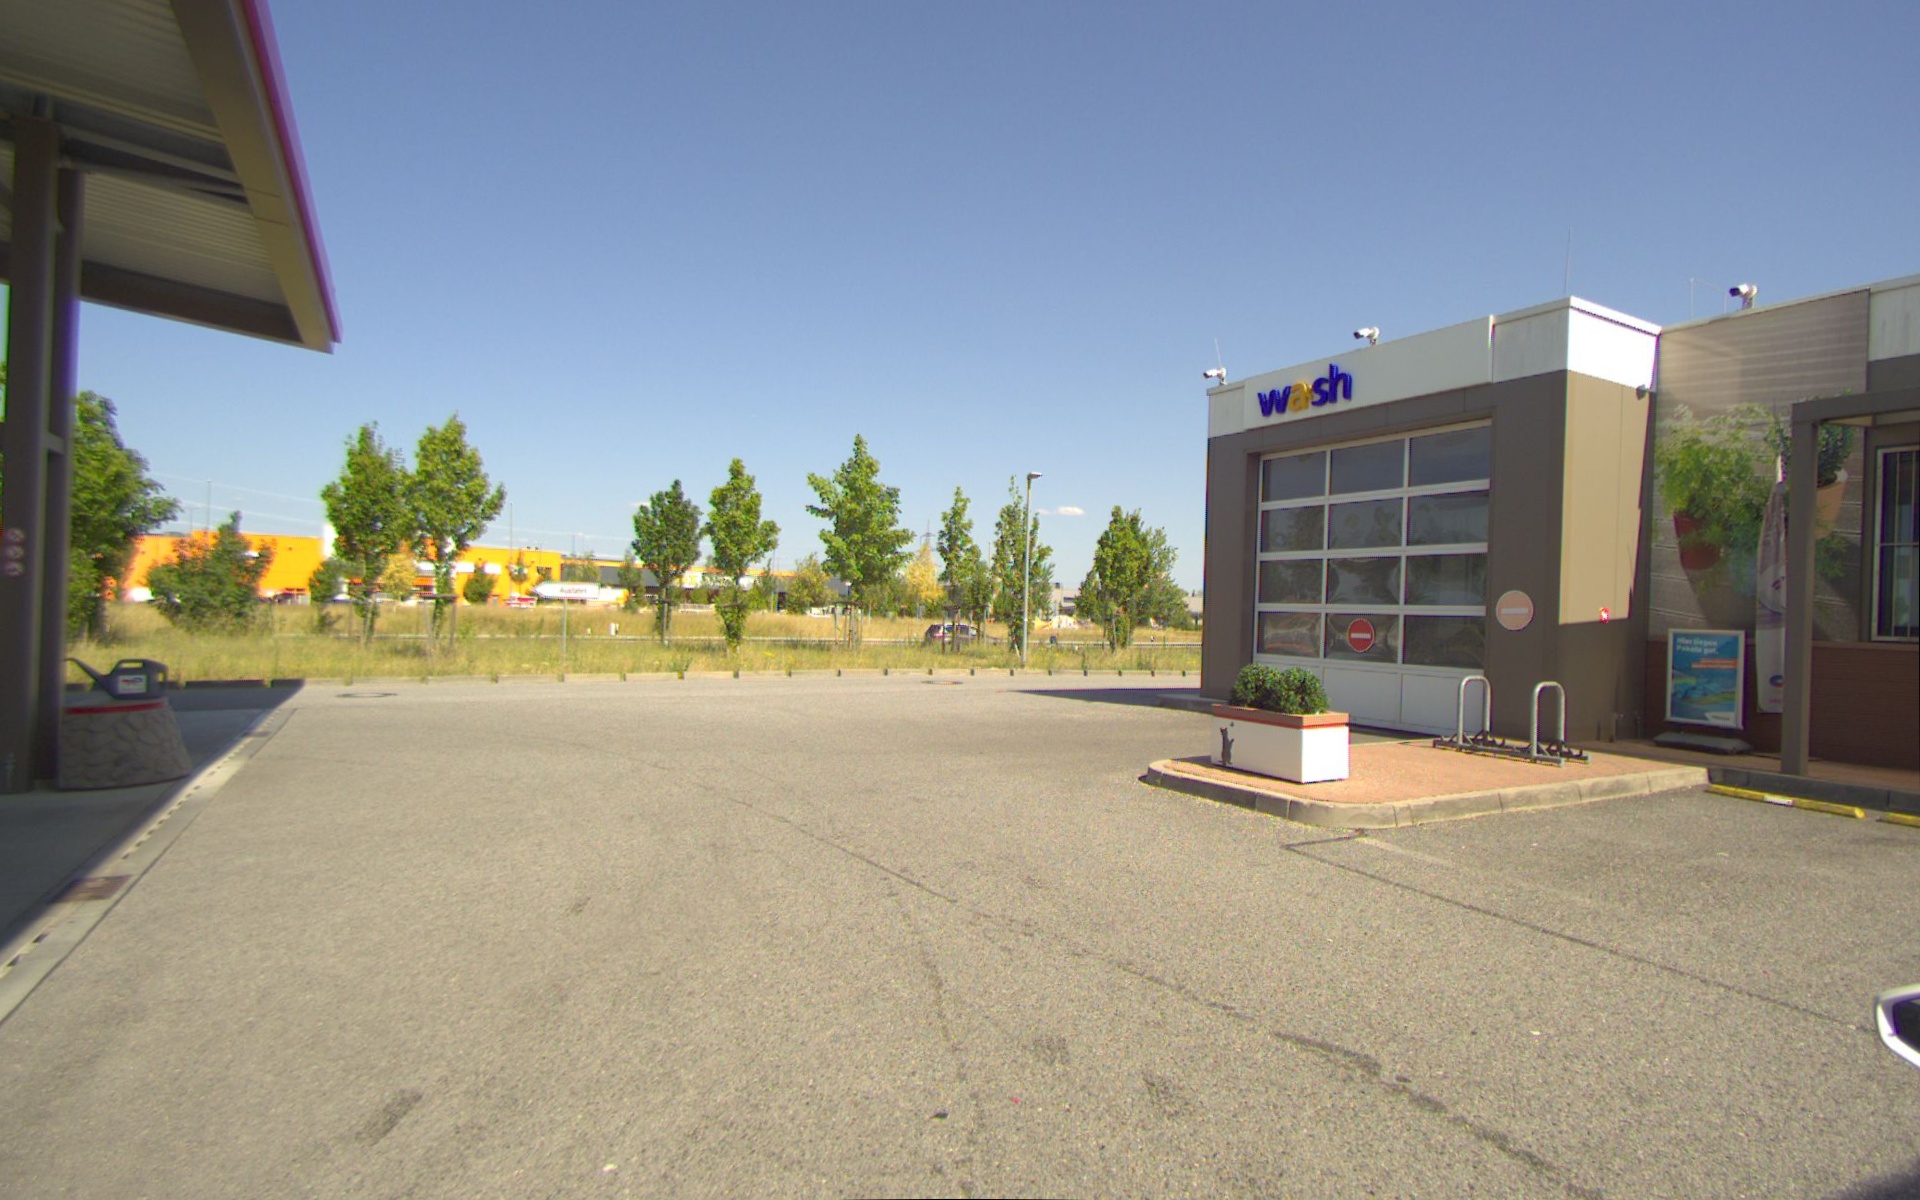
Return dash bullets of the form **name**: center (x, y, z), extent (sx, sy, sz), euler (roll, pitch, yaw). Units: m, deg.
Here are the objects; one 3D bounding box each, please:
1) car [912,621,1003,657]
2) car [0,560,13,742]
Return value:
- **car**: center (-0.097, 2.062, 53.162), extent (4.527, 1.774, 1.776), euler (2, -1, -30)
- **car**: center (-10.561, 0.440, 7.705), extent (4.488, 1.710, 1.848), euler (1, 0, -34)
